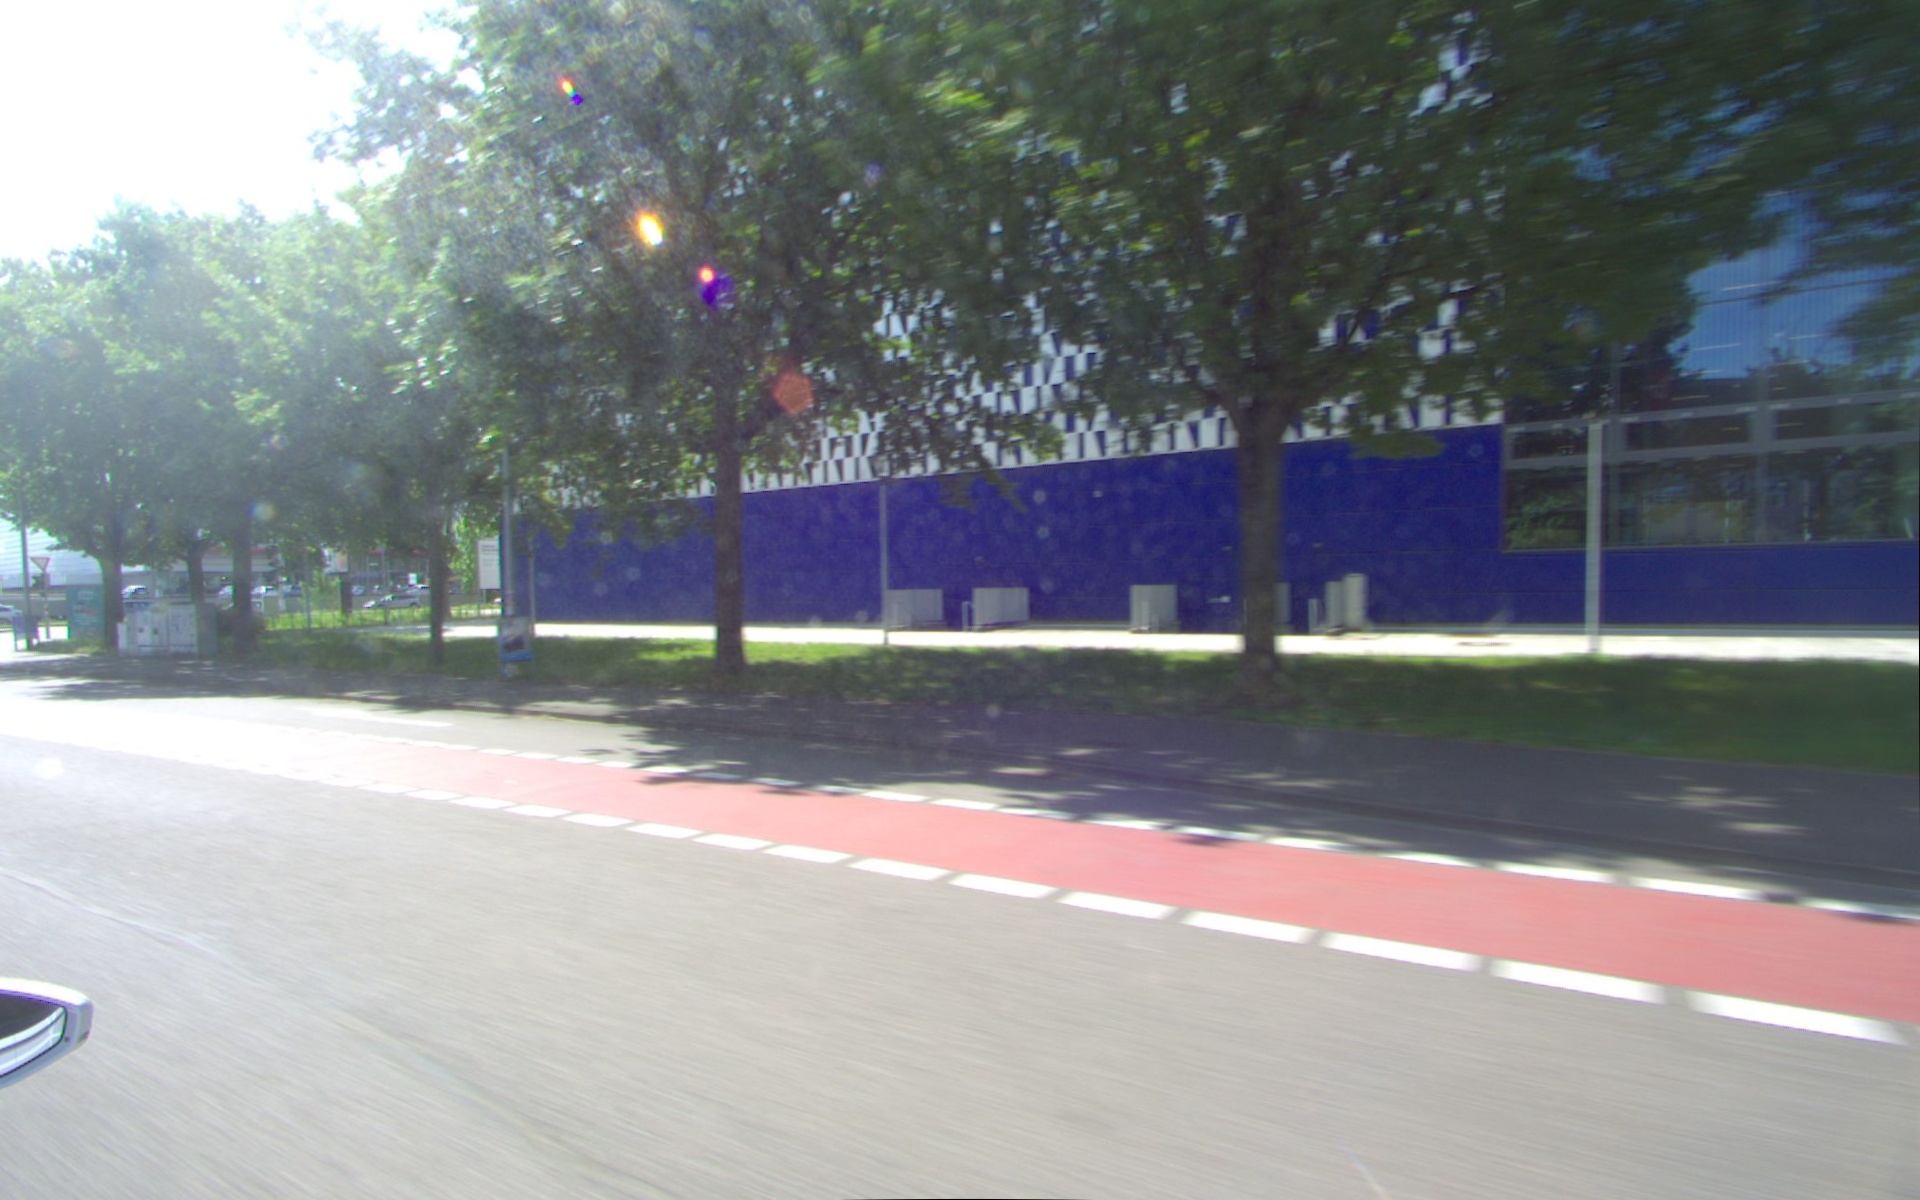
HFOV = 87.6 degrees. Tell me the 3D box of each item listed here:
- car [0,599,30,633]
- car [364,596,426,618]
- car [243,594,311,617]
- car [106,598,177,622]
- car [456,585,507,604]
[{"bbox_3d":[-59.116,1.060,60.194,1.462,2.022,4.383,0,3,37],"label":"car"},{"bbox_3d":[-46.310,0.537,82.130,1.462,1.540,4.115,0,3,37],"label":"car"},{"bbox_3d":[-54.247,0.398,79.608,1.462,1.540,4.115,0,3,37],"label":"car"},{"bbox_3d":[-56.414,0.660,69.044,1.462,1.450,3.455,0,3,37],"label":"car"},{"bbox_3d":[-42.478,-0.493,88.888,1.462,1.540,3.757,0,3,37],"label":"car"}]
